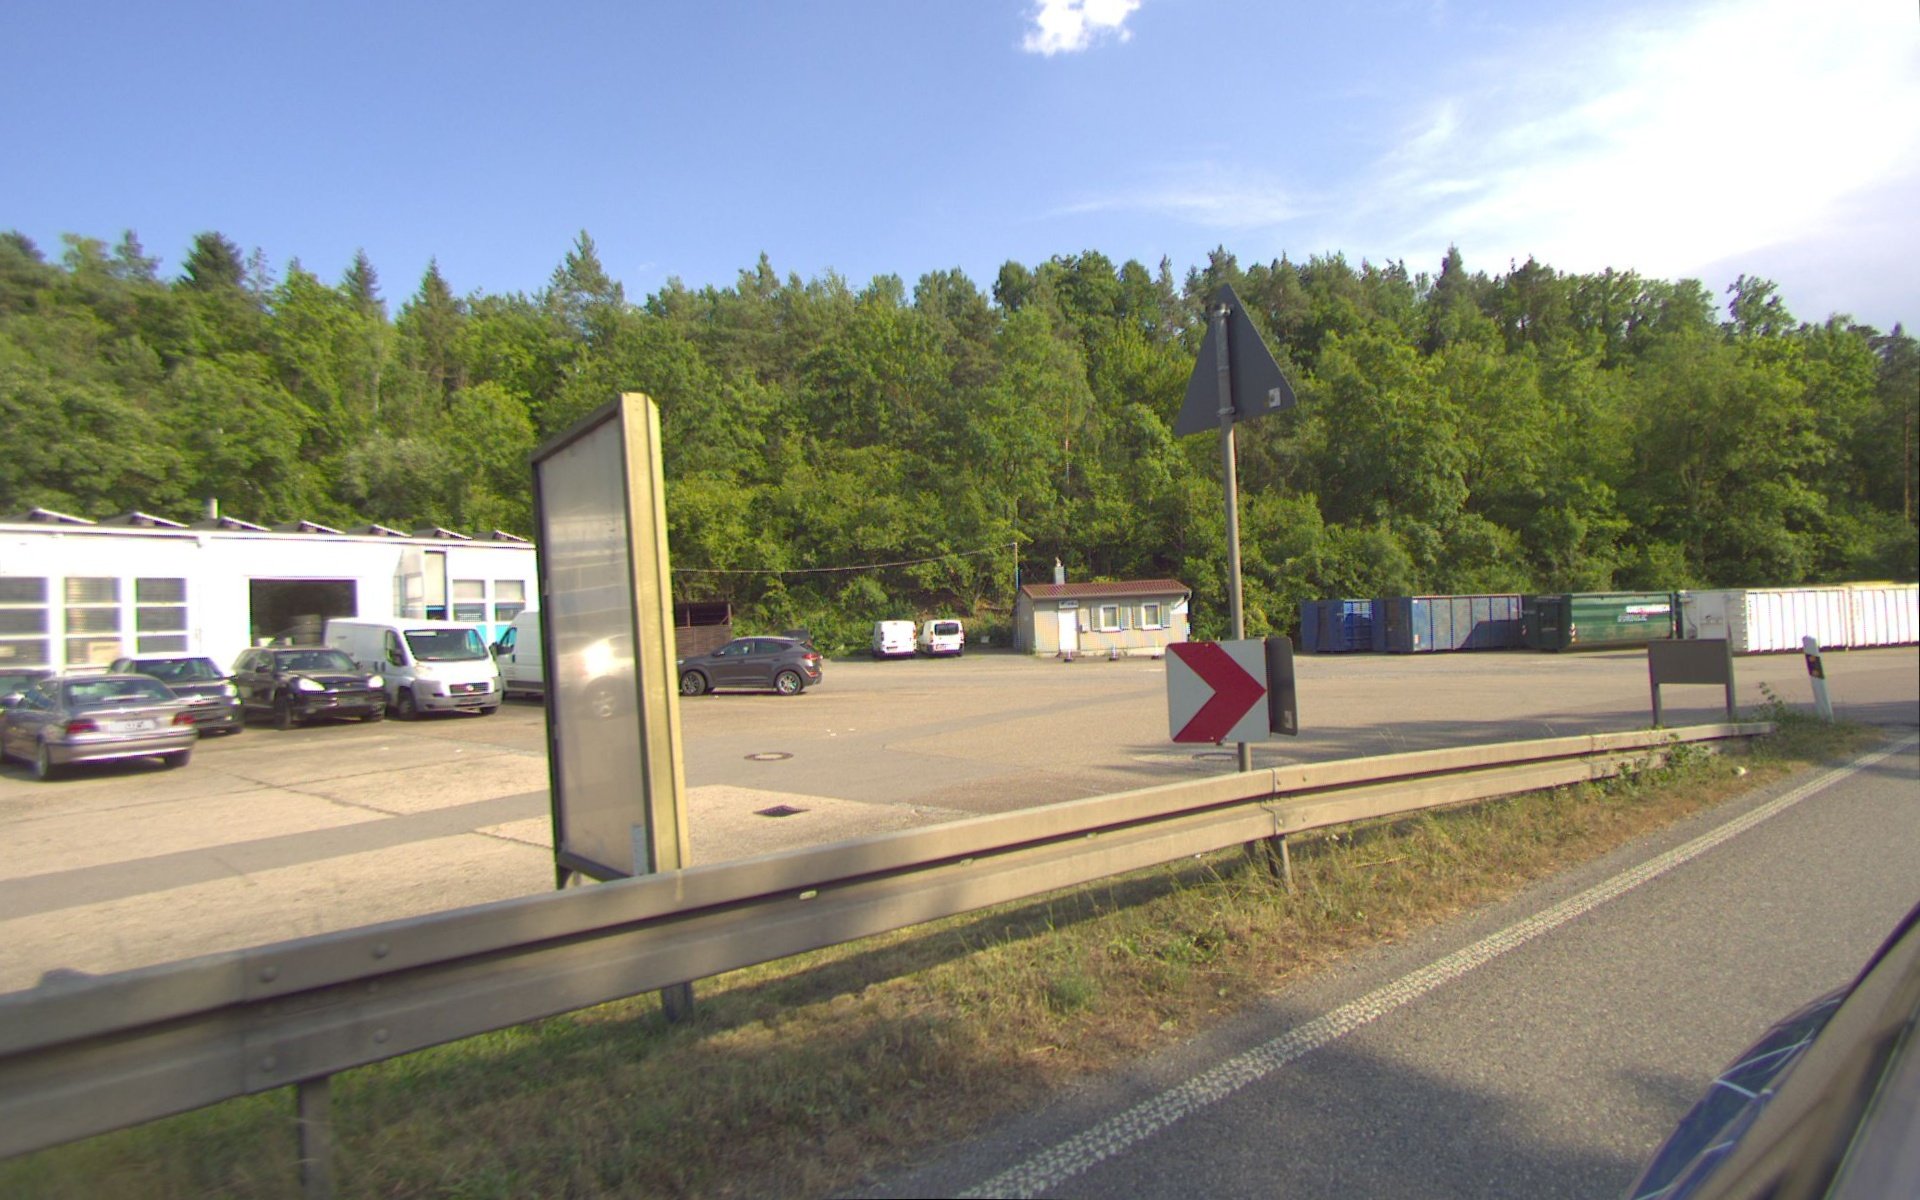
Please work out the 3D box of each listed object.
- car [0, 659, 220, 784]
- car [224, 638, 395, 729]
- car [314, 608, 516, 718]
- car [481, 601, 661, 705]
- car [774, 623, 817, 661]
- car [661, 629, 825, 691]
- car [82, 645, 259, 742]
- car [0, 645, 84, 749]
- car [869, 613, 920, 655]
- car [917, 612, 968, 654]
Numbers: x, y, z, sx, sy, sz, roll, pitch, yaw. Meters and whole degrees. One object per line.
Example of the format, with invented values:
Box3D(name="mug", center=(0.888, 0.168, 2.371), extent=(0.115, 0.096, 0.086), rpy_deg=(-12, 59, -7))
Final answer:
Box3D(name="car", center=(-13.763, 1.799, 16.086), extent=(4.706, 1.452, 1.932), rpy_deg=(0, 0, 37))
Box3D(name="car", center=(-14.159, 1.711, 21.949), extent=(4.150, 1.631, 1.898), rpy_deg=(0, 0, 38))
Box3D(name="car", center=(-12.979, 1.364, 23.965), extent=(5.462, 2.303, 2.264), rpy_deg=(-1, -1, 38))
Box3D(name="car", center=(-10.298, 1.308, 26.638), extent=(4.893, 2.480, 2.179), rpy_deg=(-1, -1, 37))
Box3D(name="car", center=(-8.416, 2.088, 51.404), extent=(1.955, 1.695, 4.565), rpy_deg=(-1, 0, -11))
Box3D(name="car", center=(-6.118, 1.678, 28.900), extent=(4.319, 1.691, 1.943), rpy_deg=(0, -2, -2))
Box3D(name="car", center=(-15.834, 1.765, 20.224), extent=(4.231, 1.631, 1.869), rpy_deg=(-1, -1, 38))
Box3D(name="car", center=(-17.814, 1.725, 18.624), extent=(3.979, 1.631, 1.869), rpy_deg=(0, 0, 38))
Box3D(name="car", center=(-3.463, 1.740, 52.544), extent=(1.958, 2.040, 4.104), rpy_deg=(-1, -1, -13))
Box3D(name="car", center=(-0.965, 1.708, 52.973), extent=(1.959, 2.040, 4.565), rpy_deg=(-1, -1, -10))
